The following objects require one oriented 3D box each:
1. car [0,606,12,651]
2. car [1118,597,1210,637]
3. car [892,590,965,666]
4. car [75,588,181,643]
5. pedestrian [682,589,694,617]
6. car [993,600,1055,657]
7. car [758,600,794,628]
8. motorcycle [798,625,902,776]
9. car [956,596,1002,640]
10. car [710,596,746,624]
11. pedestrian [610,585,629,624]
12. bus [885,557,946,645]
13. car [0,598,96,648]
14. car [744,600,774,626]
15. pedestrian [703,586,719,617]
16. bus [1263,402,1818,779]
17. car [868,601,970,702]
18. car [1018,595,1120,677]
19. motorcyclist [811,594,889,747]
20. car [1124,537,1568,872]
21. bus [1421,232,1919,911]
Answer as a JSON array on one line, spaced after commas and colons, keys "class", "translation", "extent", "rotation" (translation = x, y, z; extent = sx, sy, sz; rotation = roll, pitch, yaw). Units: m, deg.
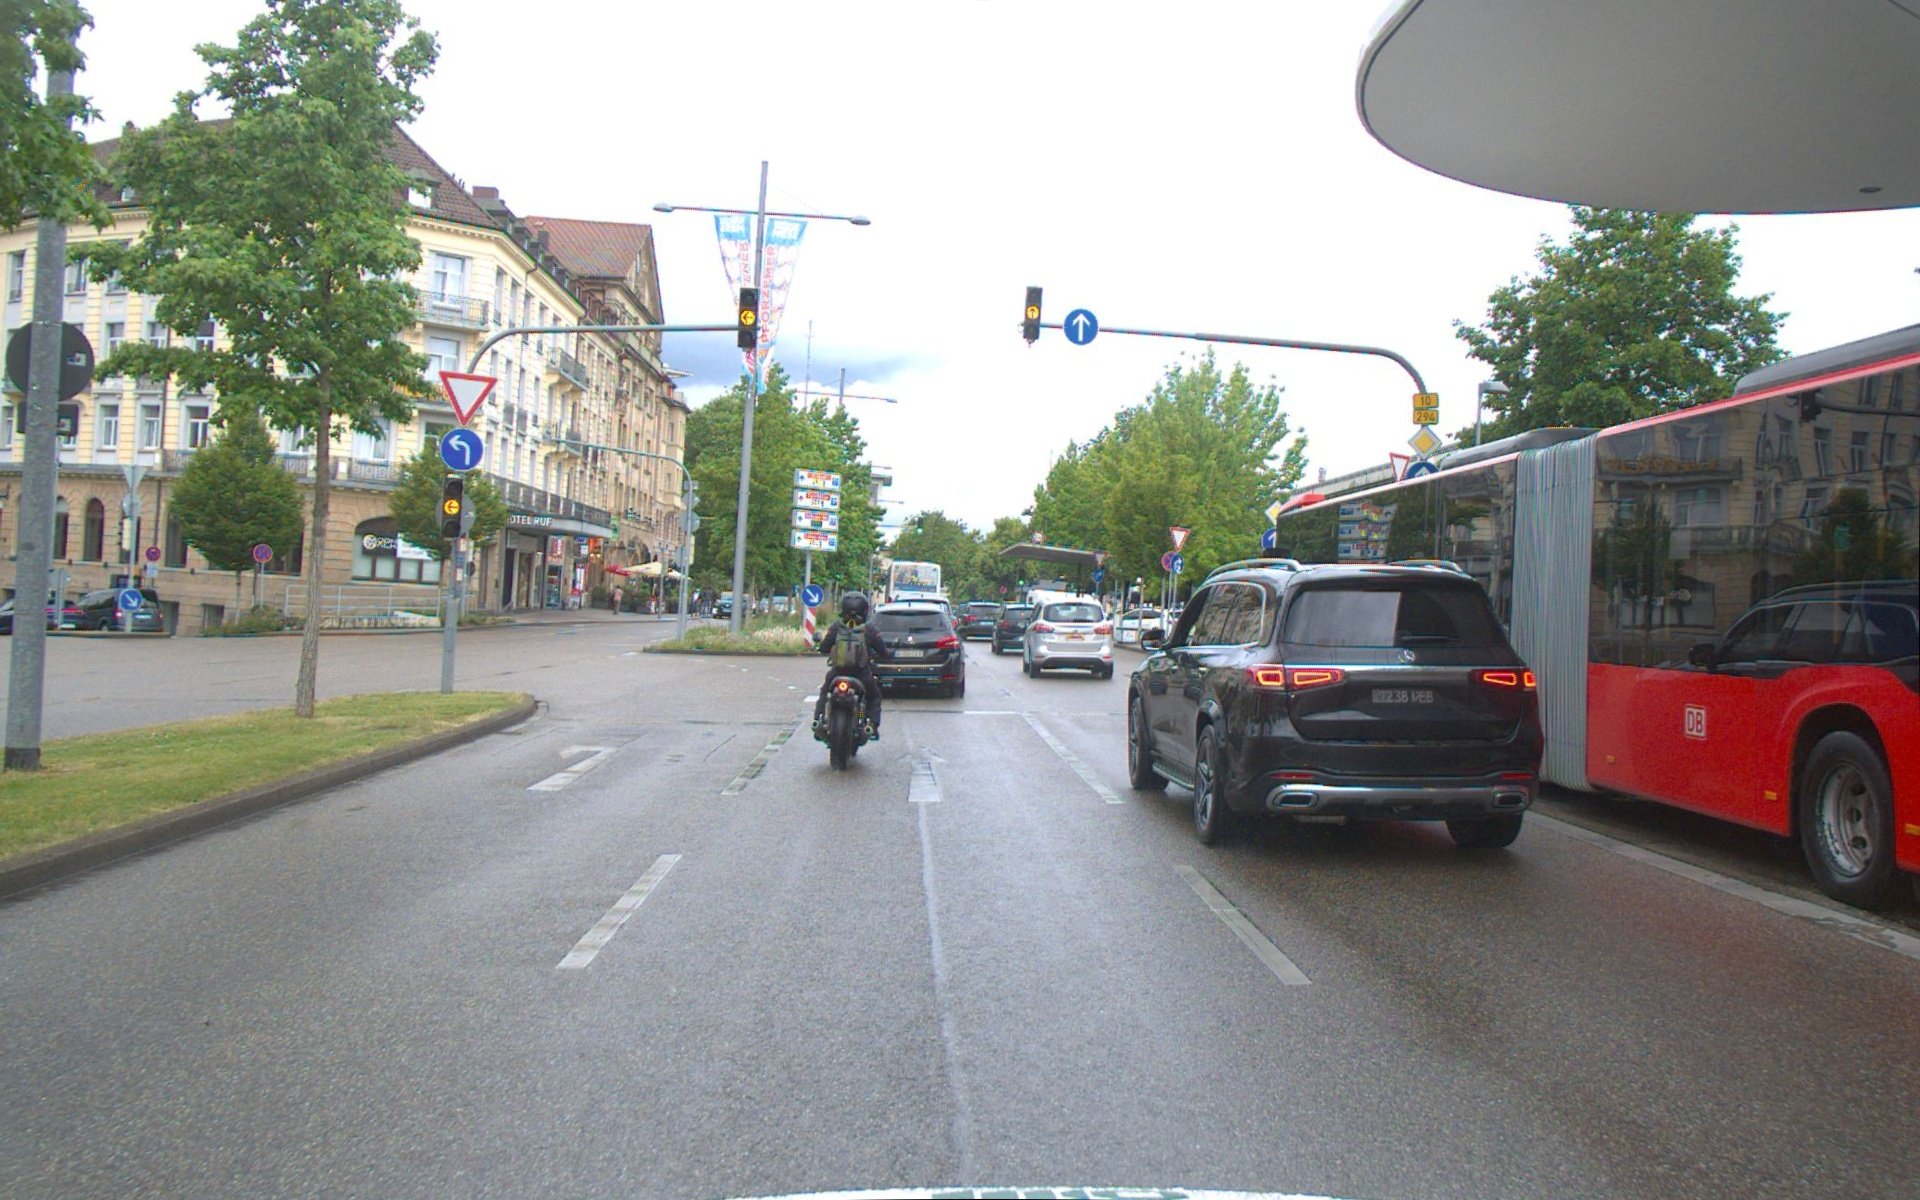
[{"class": "car", "translation": [-37.933, 1.108, 64.403], "extent": [1.642, 1.632, 3.217], "rotation": [-1, 1, -32]}, {"class": "car", "translation": [8.519, 0.696, 69.277], "extent": [1.566, 1.594, 3.739], "rotation": [0, 0, -41]}, {"class": "car", "translation": [-0.722, 0.596, 36.921], "extent": [1.544, 1.594, 3.869], "rotation": [0, 0, -2]}, {"class": "car", "translation": [-29.210, 0.530, 58.022], "extent": [2.103, 1.807, 4.321], "rotation": [2, -1, -44]}, {"class": "pedestrian", "translation": [-17.751, 0.168, 107.881], "extent": [0.550, 1.809, 0.497], "rotation": [1, -1, 33]}, {"class": "car", "translation": [1.832, 0.798, 48.531], "extent": [1.544, 1.594, 3.869], "rotation": [0, 0, -2]}, {"class": "car", "translation": [-10.412, 0.776, 93.892], "extent": [1.744, 1.594, 3.428], "rotation": [0, 0, -2]}, {"class": "motorcycle", "translation": [-0.988, 0.885, 15.278], "extent": [0.776, 1.284, 1.855], "rotation": [1, 0, 1]}, {"class": "car", "translation": [0.689, 0.664, 62.097], "extent": [1.544, 1.594, 3.794], "rotation": [0, 0, -2]}, {"class": "car", "translation": [-13.372, 0.555, 95.427], "extent": [1.744, 1.594, 3.428], "rotation": [0, 0, -2]}, {"class": "pedestrian", "translation": [-18.156, 0.239, 88.168], "extent": [0.716, 2.049, 0.819], "rotation": [2, -1, -28]}, {"class": "bus", "translation": [-2.359, 0.118, 84.492], "extent": [2.781, 4.057, 11.857], "rotation": [2, -1, -2]}, {"class": "car", "translation": [-30.409, 0.721, 53.221], "extent": [4.317, 1.598, 1.814], "rotation": [0, 0, -16]}, {"class": "car", "translation": [-12.368, 0.773, 101.944], "extent": [1.544, 1.594, 3.428], "rotation": [0, 0, -2]}, {"class": "pedestrian", "translation": [-16.313, 0.105, 108.296], "extent": [0.716, 2.000, 0.819], "rotation": [2, -1, -28]}, {"class": "bus", "translation": [6.108, -0.064, 19.488], "extent": [3.224, 3.347, 8.846], "rotation": [1, 0, -1]}, {"class": "car", "translation": [-0.664, 0.778, 26.998], "extent": [1.543, 1.531, 3.870], "rotation": [0, 0, -1]}, {"class": "car", "translation": [2.181, 0.702, 33.975], "extent": [1.706, 1.594, 3.869], "rotation": [0, 0, -2]}, {"class": "motorcyclist", "translation": [-1.009, 0.644, 15.337], "extent": [0.628, 1.371, 0.689], "rotation": [1, -1, 1]}, {"class": "car", "translation": [2.454, 0.599, 11.896], "extent": [1.918, 1.909, 4.871], "rotation": [0, 0, -2]}, {"class": "bus", "translation": [6.282, -0.101, 10.847], "extent": [3.220, 3.349, 10.874], "rotation": [1, 0, -1]}]
